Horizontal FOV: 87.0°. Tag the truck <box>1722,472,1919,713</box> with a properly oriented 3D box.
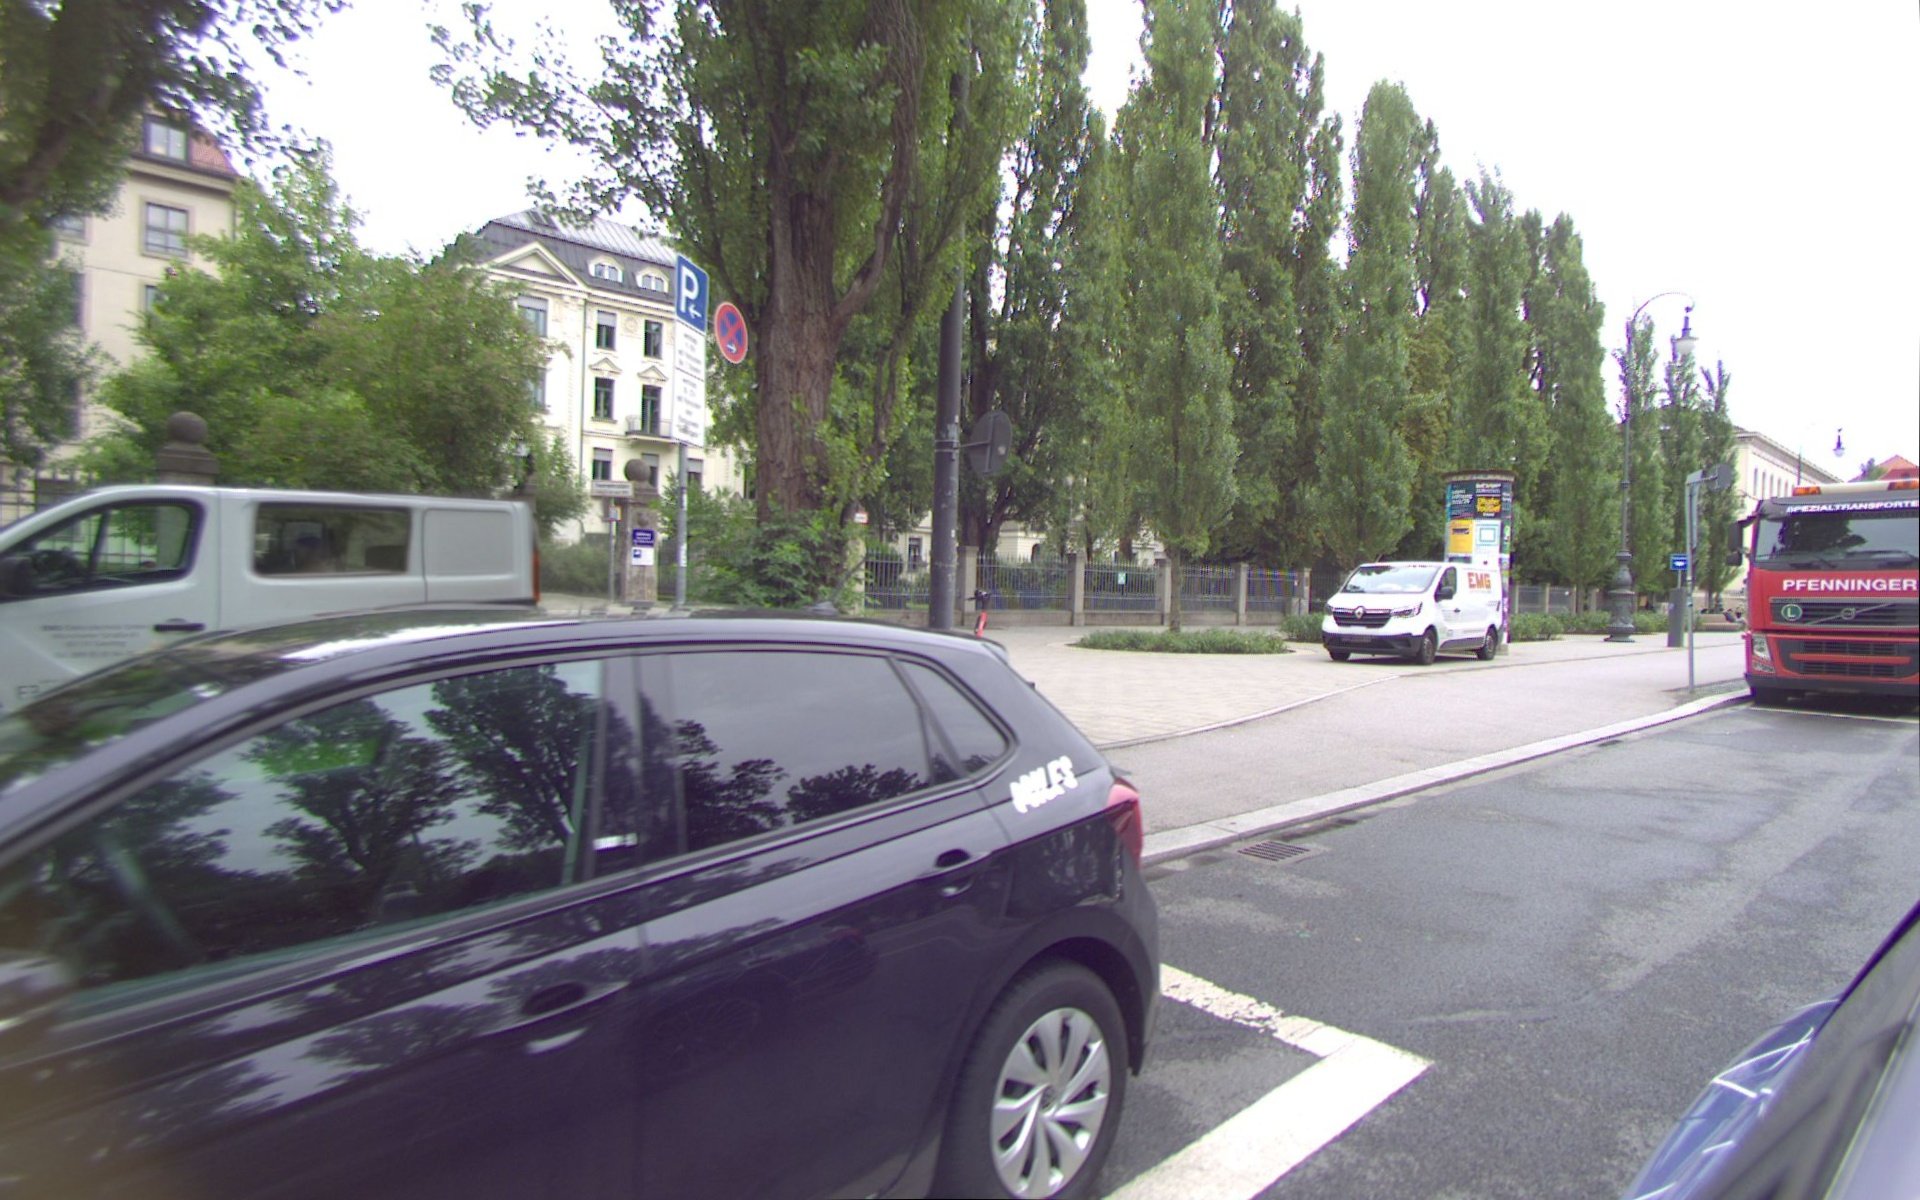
[{"bbox_3d":[15.917,-0.106,17.171,10.244,3.149,2.718,0,1,-41],"label":"truck"}]

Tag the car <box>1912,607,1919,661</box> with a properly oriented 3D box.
[{"bbox_3d":[25.728,0.867,25.748,4.293,1.326,1.739,1,1,-41],"label":"car"}]

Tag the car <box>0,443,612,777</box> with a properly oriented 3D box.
[{"bbox_3d":[-5.415,0.036,7.492,4.994,1.970,1.997,0,1,-41],"label":"car"}]

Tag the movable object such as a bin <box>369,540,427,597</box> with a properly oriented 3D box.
[{"bbox_3d":[-22.580,-1.258,40.607,1.407,2.167,3.677,1,1,-39],"label":"movable object such as a bin"}]

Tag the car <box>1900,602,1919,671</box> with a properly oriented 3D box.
[{"bbox_3d":[22.499,0.804,22.640,4.144,1.478,1.790,1,0,-42],"label":"car"}]

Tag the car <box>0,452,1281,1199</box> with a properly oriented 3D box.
[{"bbox_3d":[-1.155,0.589,2.145,3.931,1.468,1.756,0,-1,-42],"label":"car"}]

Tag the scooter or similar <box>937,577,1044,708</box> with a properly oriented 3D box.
[{"bbox_3d":[0.329,0.417,10.411,1.165,1.281,0.337,1,1,-41],"label":"scooter or similar"}]

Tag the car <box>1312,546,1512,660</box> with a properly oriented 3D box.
[{"bbox_3d":[8.936,0.058,19.791,4.802,1.969,1.882,0,-1,-43],"label":"car"}]
